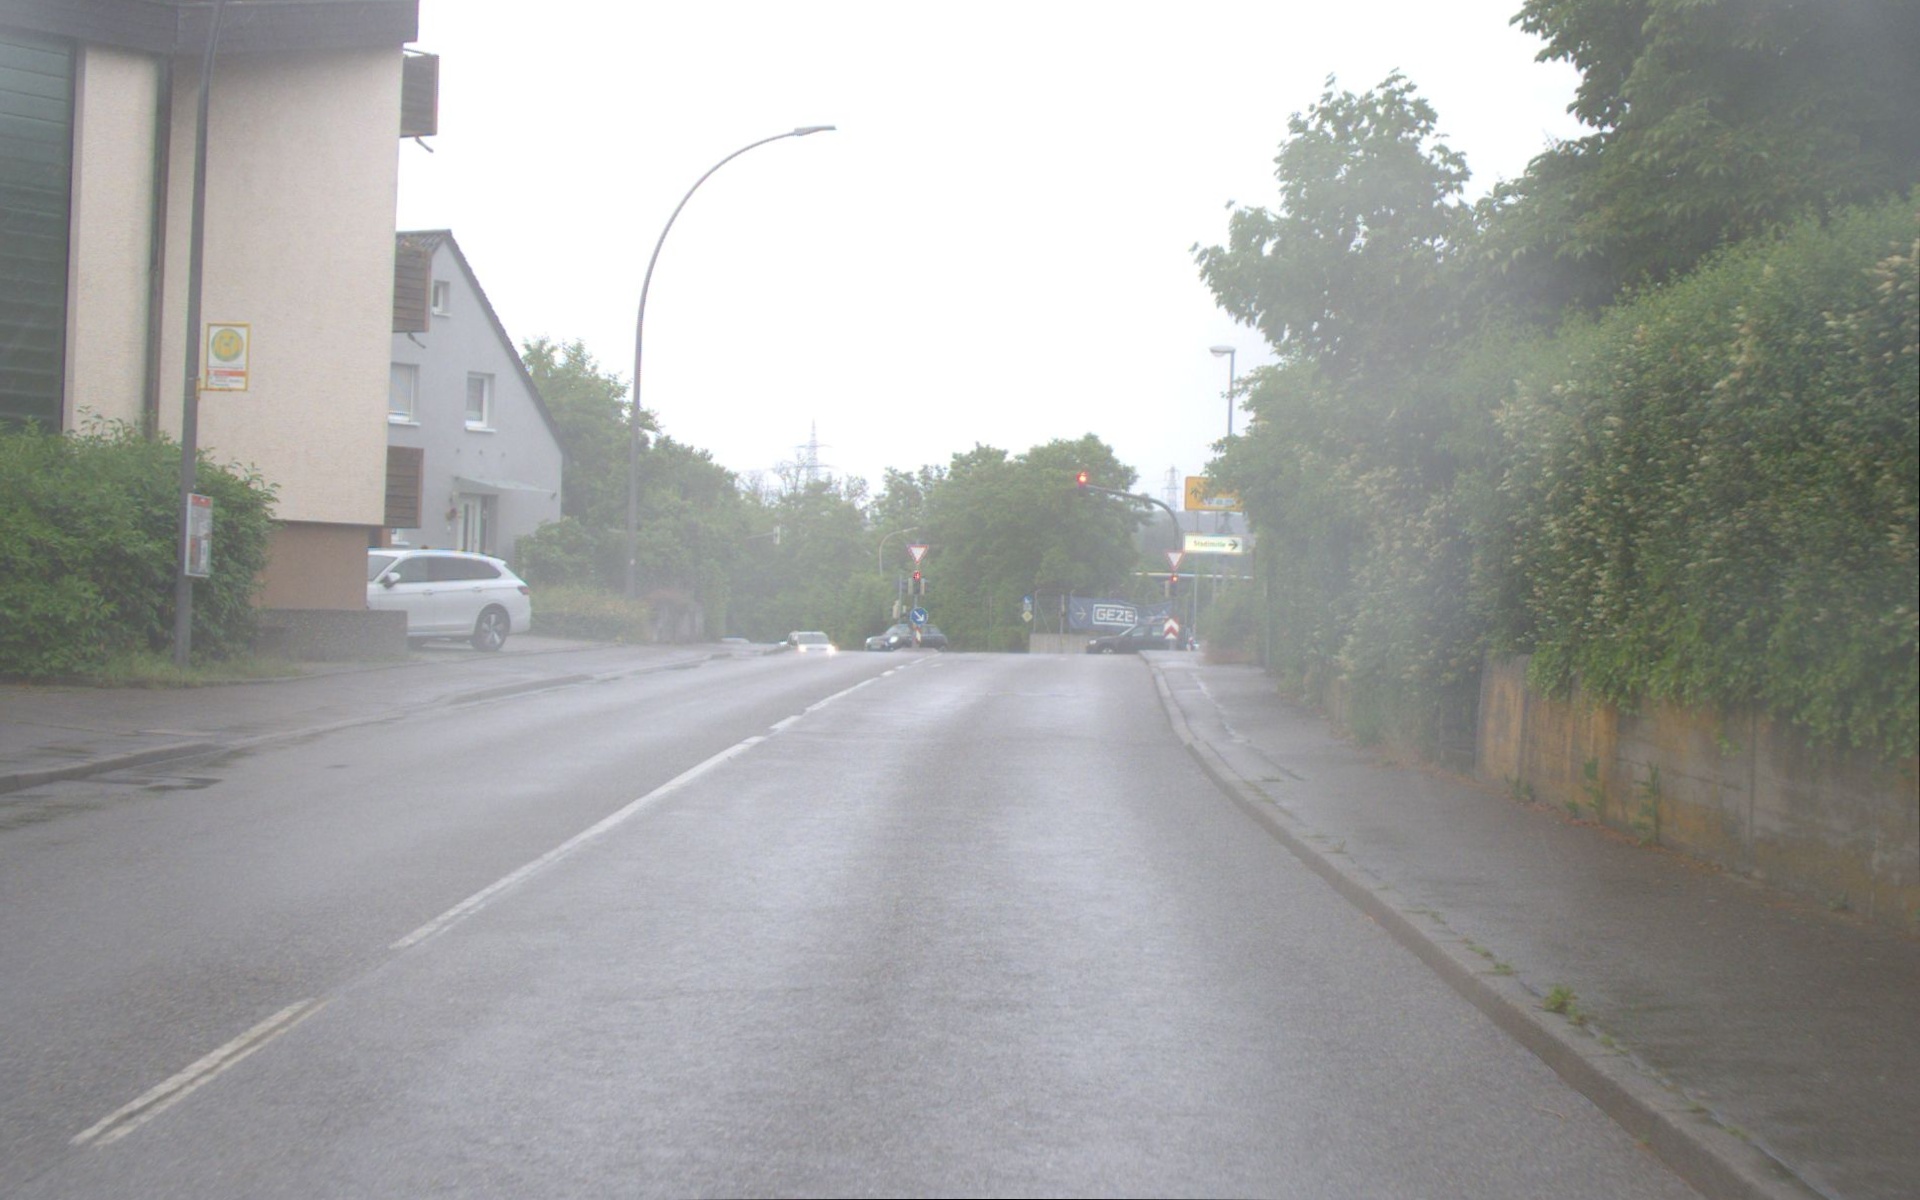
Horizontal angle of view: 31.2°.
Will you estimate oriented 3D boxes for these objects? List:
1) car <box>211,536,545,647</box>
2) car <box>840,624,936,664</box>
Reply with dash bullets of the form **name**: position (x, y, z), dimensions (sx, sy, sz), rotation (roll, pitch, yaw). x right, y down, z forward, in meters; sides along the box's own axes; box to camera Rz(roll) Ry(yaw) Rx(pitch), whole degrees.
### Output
- **car**: position (-8.498, -0.107, 50.599), dimensions (1.905, 1.472, 4.872), rotation (4, 2, 36)
- **car**: position (-2.860, 1.752, 136.875), dimensions (1.808, 1.518, 3.992), rotation (2, 0, 34)
